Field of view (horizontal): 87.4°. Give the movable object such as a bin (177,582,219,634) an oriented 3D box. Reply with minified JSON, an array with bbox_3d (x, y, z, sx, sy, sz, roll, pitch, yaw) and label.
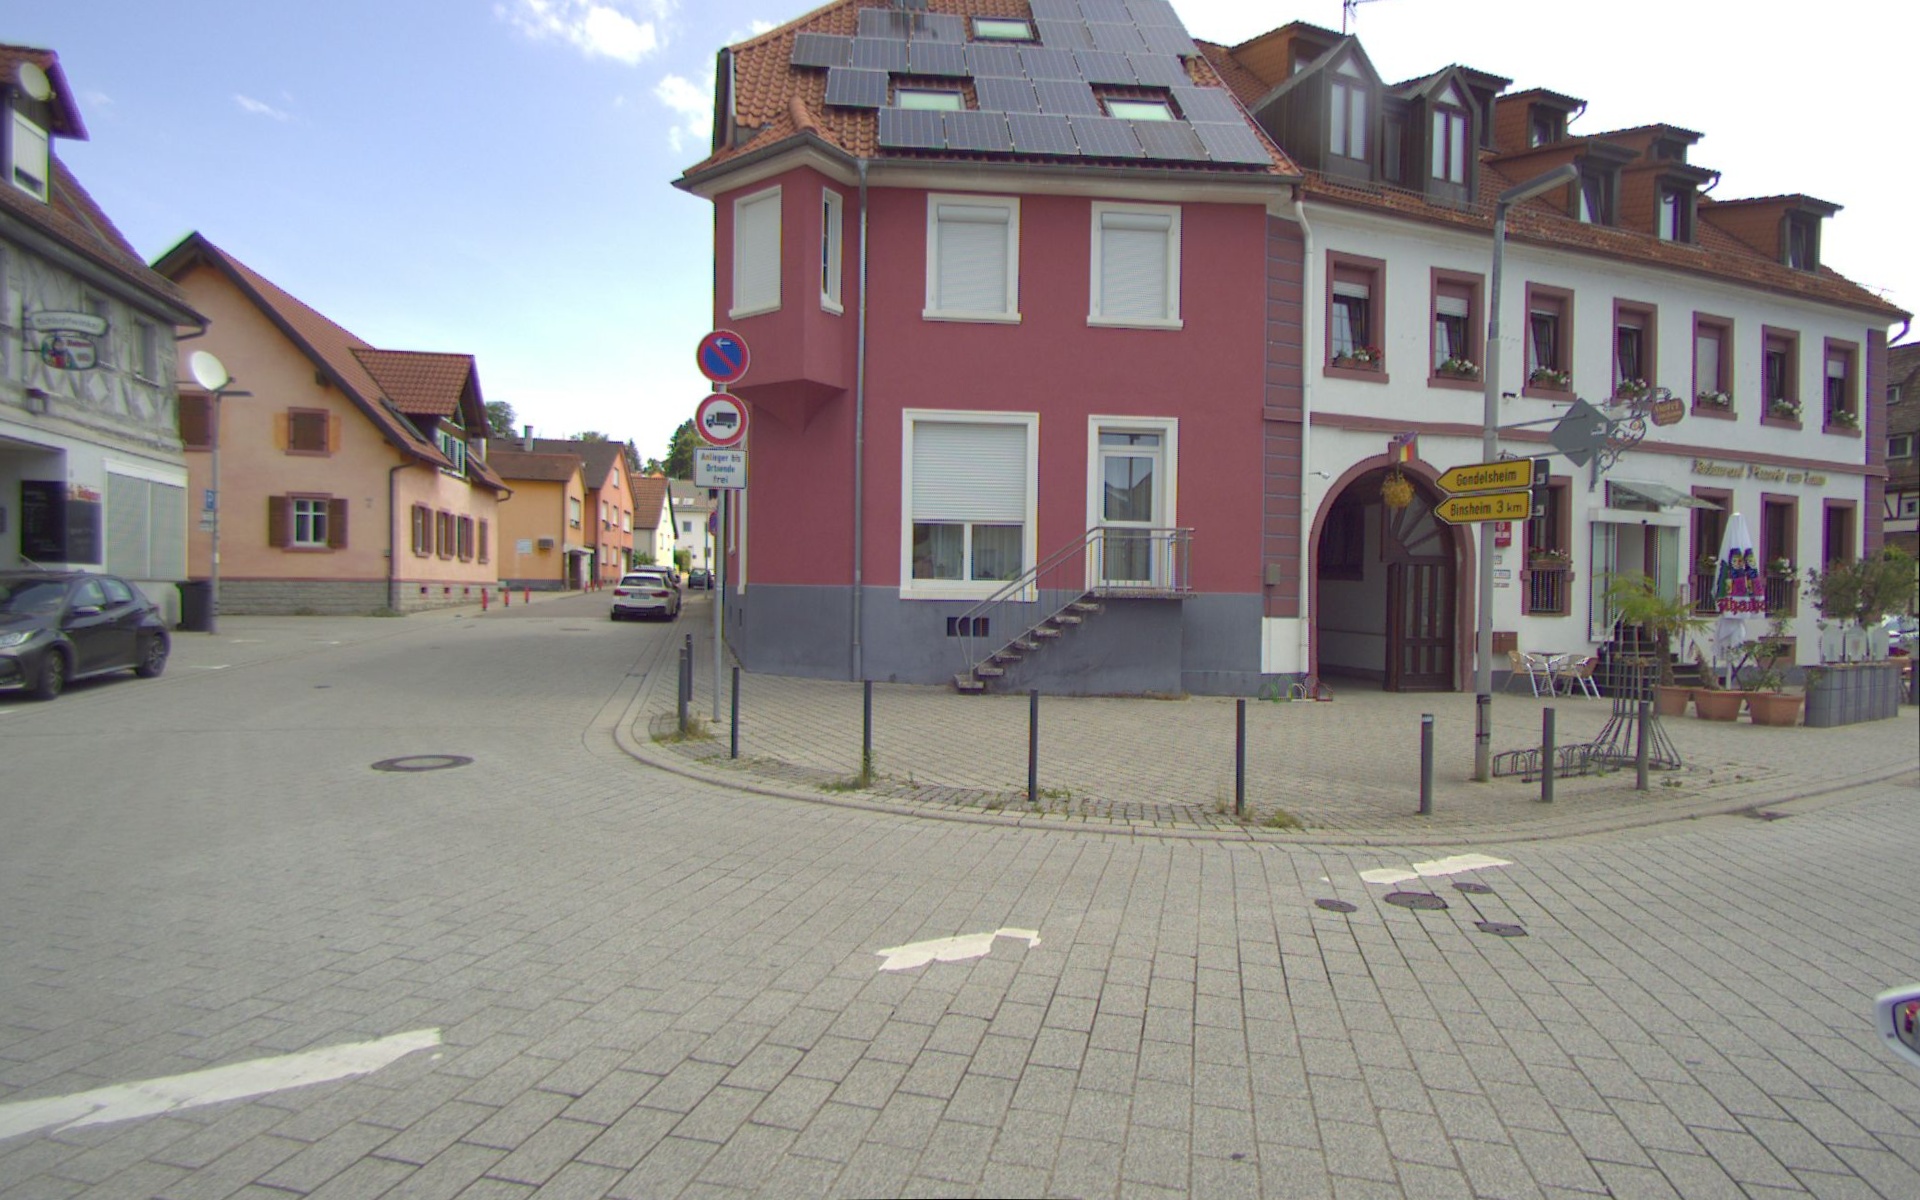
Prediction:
[{"bbox_3d":[-16.847,0.188,22.210,0.576,1.131,0.492,1,-1,-17],"label":"movable object such as a bin"}]

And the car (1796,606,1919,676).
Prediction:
[{"bbox_3d":[23.231,1.007,25.226,4.218,1.513,1.752,1,4,-25],"label":"car"}]

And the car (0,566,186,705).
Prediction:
[{"bbox_3d":[-11.793,0.366,12.792,1.745,1.538,3.939,1,0,-17],"label":"car"}]

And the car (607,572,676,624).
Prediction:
[{"bbox_3d":[-10.028,-0.060,31.805,1.954,1.538,3.454,1,0,-17],"label":"car"}]

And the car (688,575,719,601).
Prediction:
[{"bbox_3d":[-18.339,-0.842,72.002,1.728,1.728,3.994,1,0,-9],"label":"car"}]
